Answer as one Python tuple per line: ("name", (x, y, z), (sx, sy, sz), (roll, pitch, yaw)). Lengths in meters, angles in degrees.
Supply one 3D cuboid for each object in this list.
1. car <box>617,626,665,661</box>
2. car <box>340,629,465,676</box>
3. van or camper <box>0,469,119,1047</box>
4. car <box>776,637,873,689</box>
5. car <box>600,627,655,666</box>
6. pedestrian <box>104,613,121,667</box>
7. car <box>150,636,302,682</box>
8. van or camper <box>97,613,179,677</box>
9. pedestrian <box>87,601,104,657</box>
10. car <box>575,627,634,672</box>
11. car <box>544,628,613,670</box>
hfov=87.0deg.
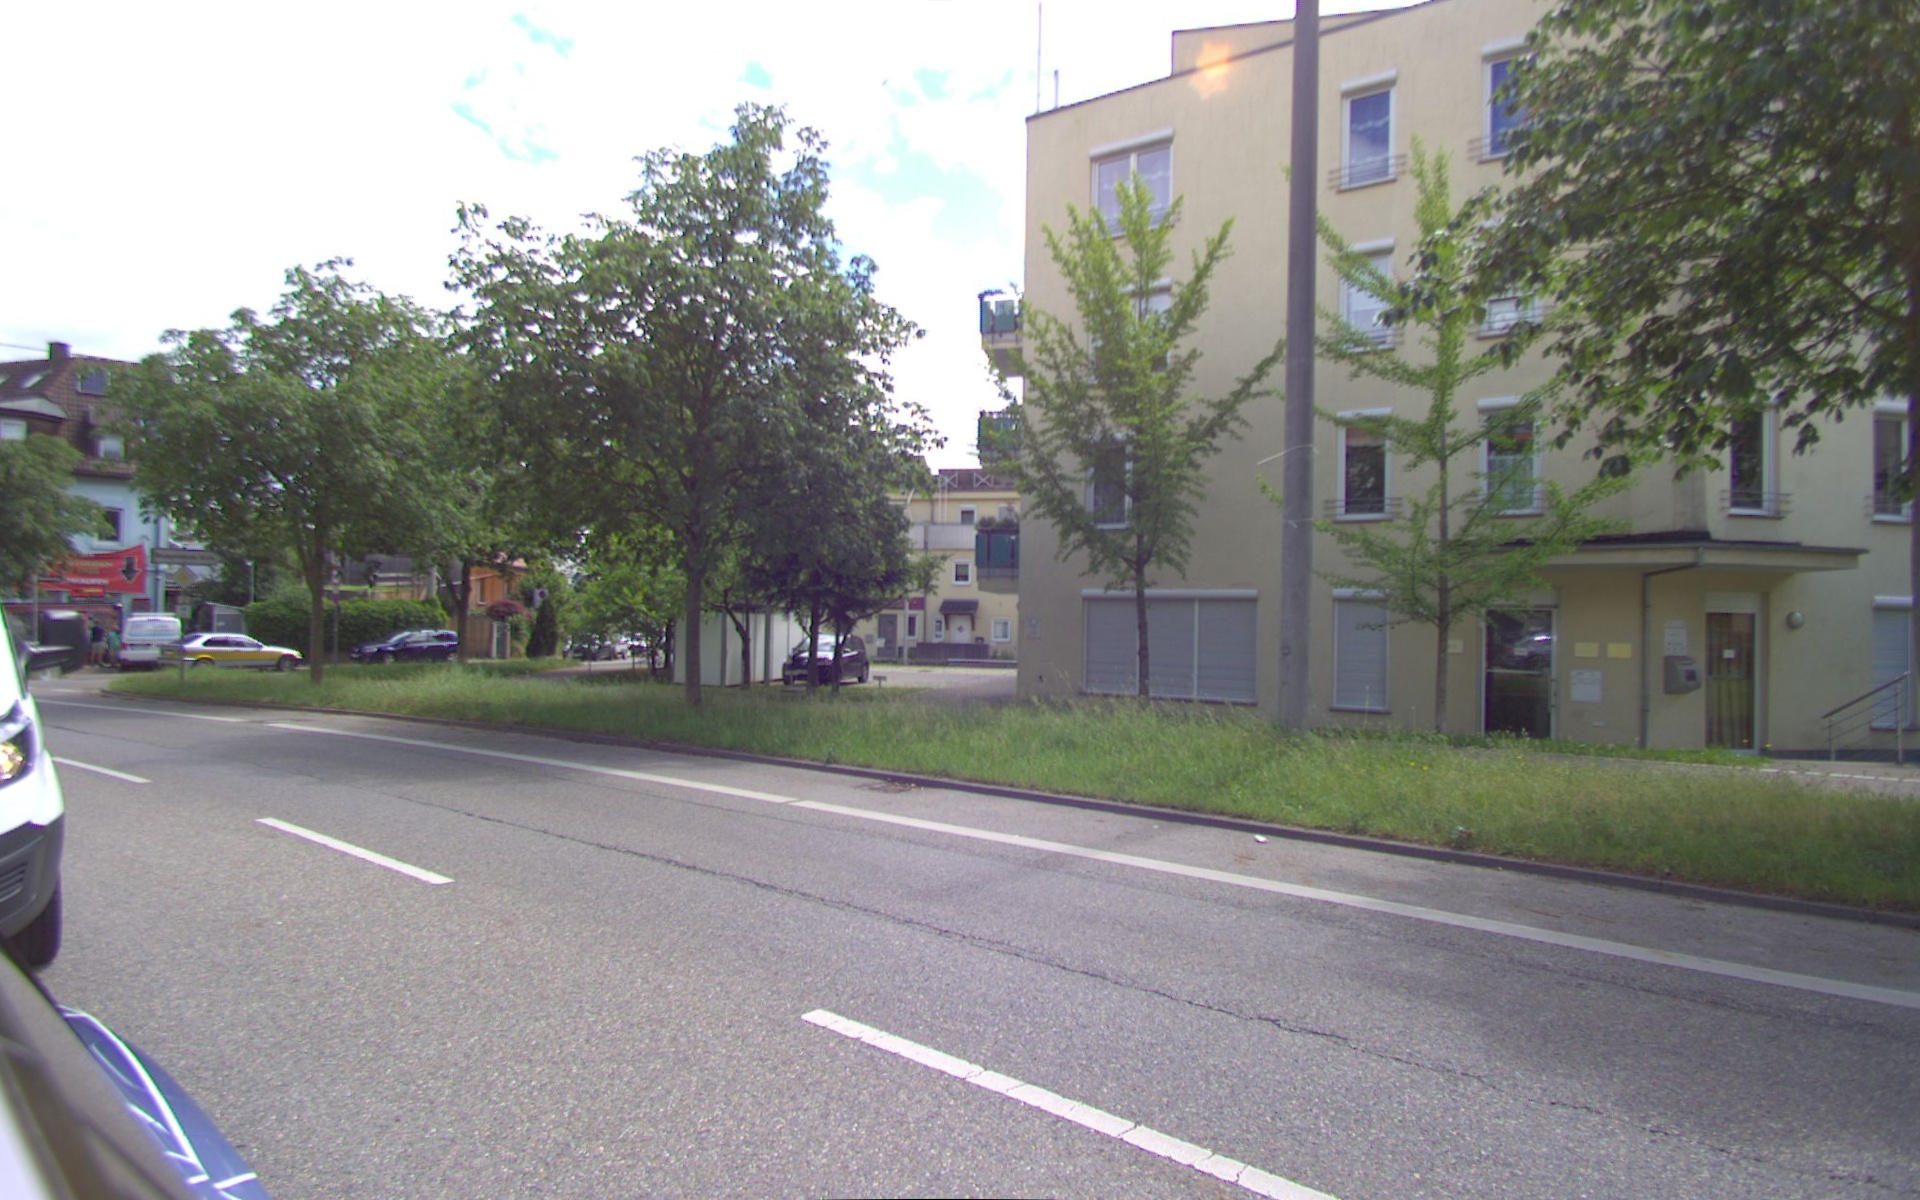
("car", (-20.048, 2.695, 63.661), (1.870, 2.029, 4.002), (-1, 0, -2))
("car", (-21.736, 2.005, 39.563), (1.715, 1.695, 3.928), (0, -2, 37))
("van or camper", (-5.721, 0.584, 4.758), (5.102, 2.029, 2.000), (-2, -3, 42))
("car", (-3.889, 1.821, 29.685), (1.773, 1.431, 3.988), (-1, -3, 9))
("car", (-19.430, 2.672, 59.329), (1.971, 2.029, 4.001), (-1, 0, -2))
("pedestrian", (-31.528, 1.474, 37.641), (0.443, 2.005, 0.378), (-1, 0, 41))
("car", (-25.326, 1.993, 35.051), (1.529, 1.332, 4.008), (-1, 0, 27))
("van or camper", (-29.657, 1.562, 36.481), (3.811, 2.105, 1.770), (0, 0, 43))
("pedestrian", (-31.867, 1.055, 37.309), (0.363, 2.029, 0.419), (-1, 0, 41))
("car", (-19.291, 2.651, 55.127), (1.970, 2.028, 4.004), (-1, 3, -3))
("car", (-19.129, 2.445, 50.913), (1.954, 2.029, 3.999), (0, -2, 0))
